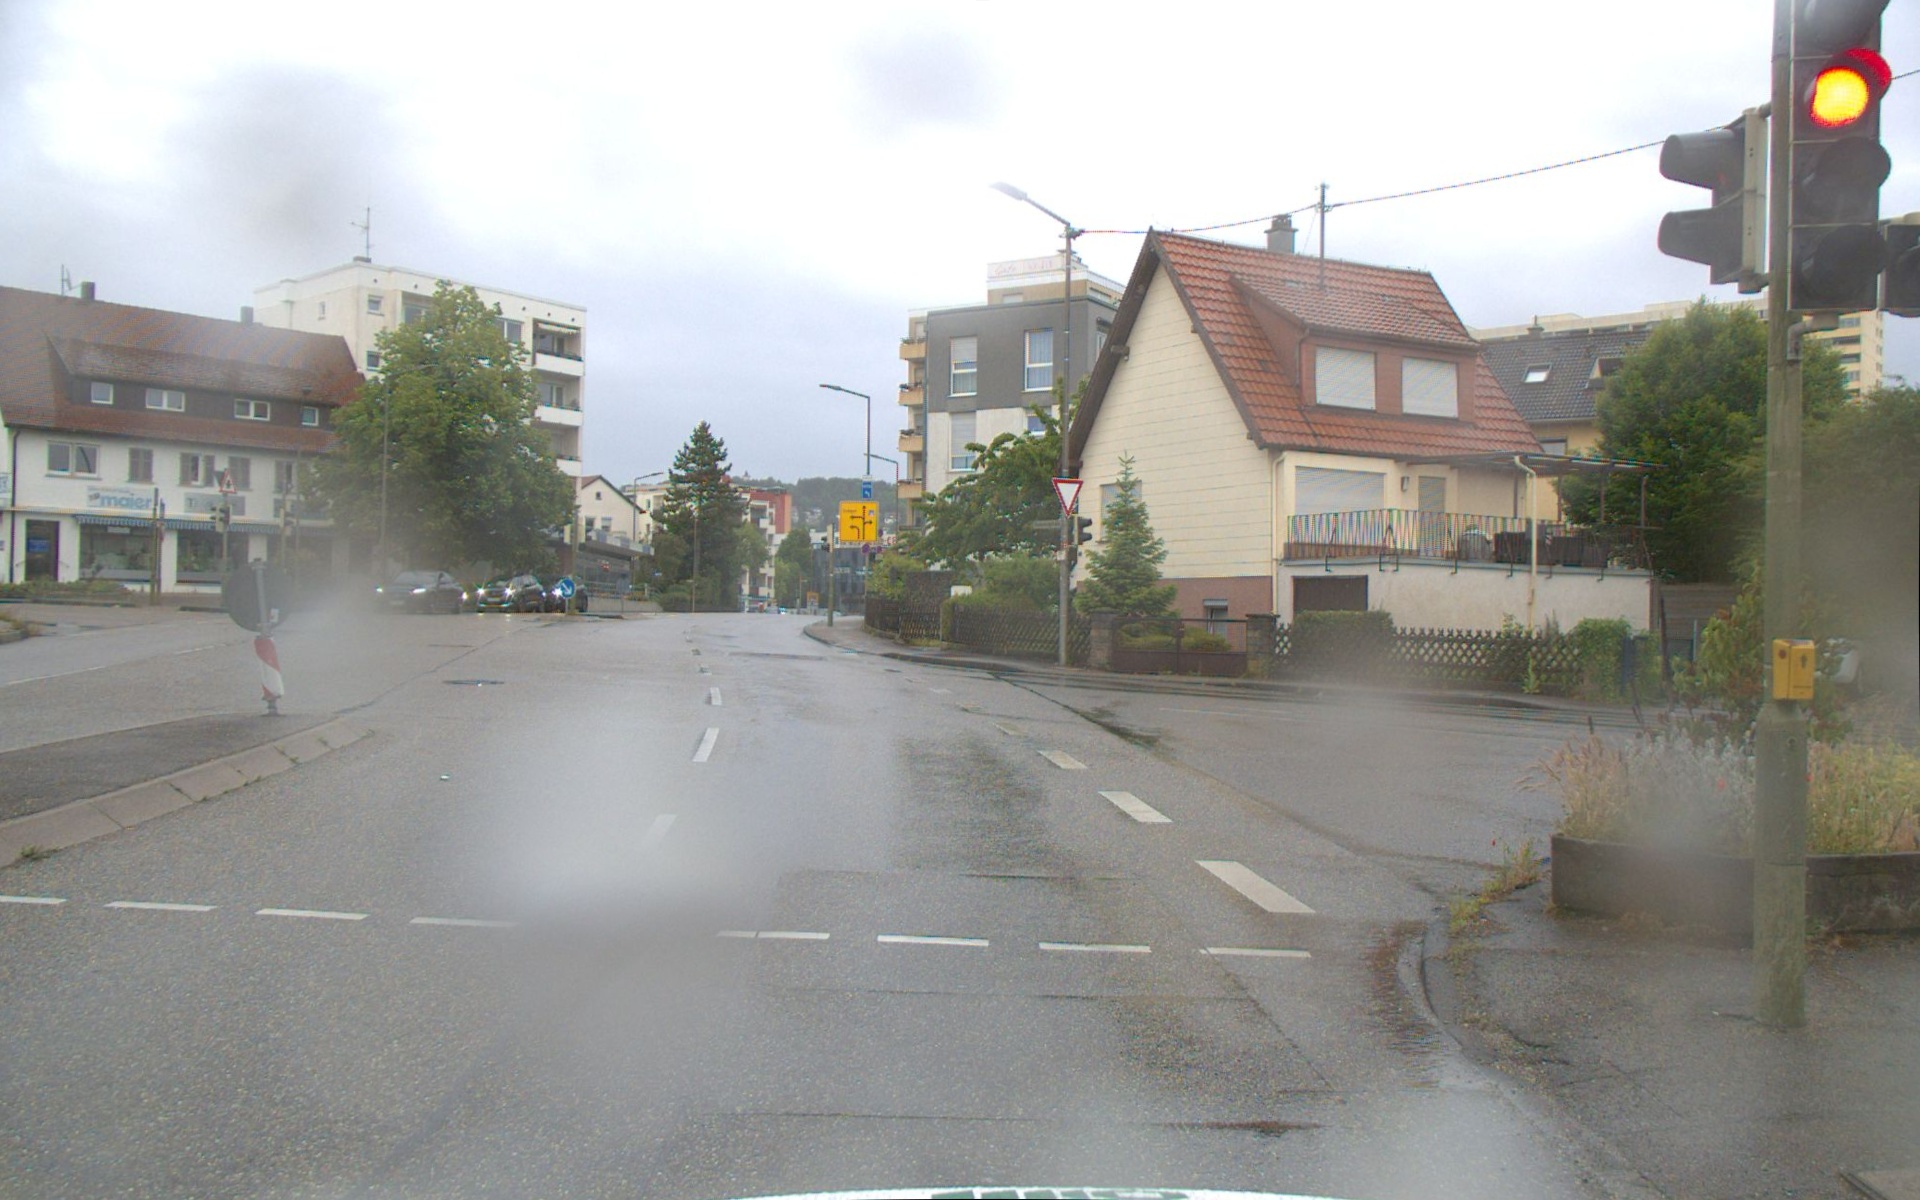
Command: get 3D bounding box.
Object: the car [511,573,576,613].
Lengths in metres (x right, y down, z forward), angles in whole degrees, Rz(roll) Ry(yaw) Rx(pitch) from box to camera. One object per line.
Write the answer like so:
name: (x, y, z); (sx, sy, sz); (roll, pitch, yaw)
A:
car: (-17.842, -0.291, 70.986); (1.841, 1.625, 4.182); (1, 0, -2)

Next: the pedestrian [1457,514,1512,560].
pedestrian: (11.152, -1.336, 35.175); (0.902, 0.898, 0.632); (1, -2, -20)

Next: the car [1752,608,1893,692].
car: (15.622, 0.864, 29.874); (1.780, 1.386, 3.986); (1, 0, 35)

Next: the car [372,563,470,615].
car: (-18.055, -0.340, 55.649); (1.953, 1.653, 4.537); (1, 0, -2)

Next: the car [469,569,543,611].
car: (-17.879, -0.373, 65.239); (1.927, 1.538, 3.998); (1, 0, -2)
